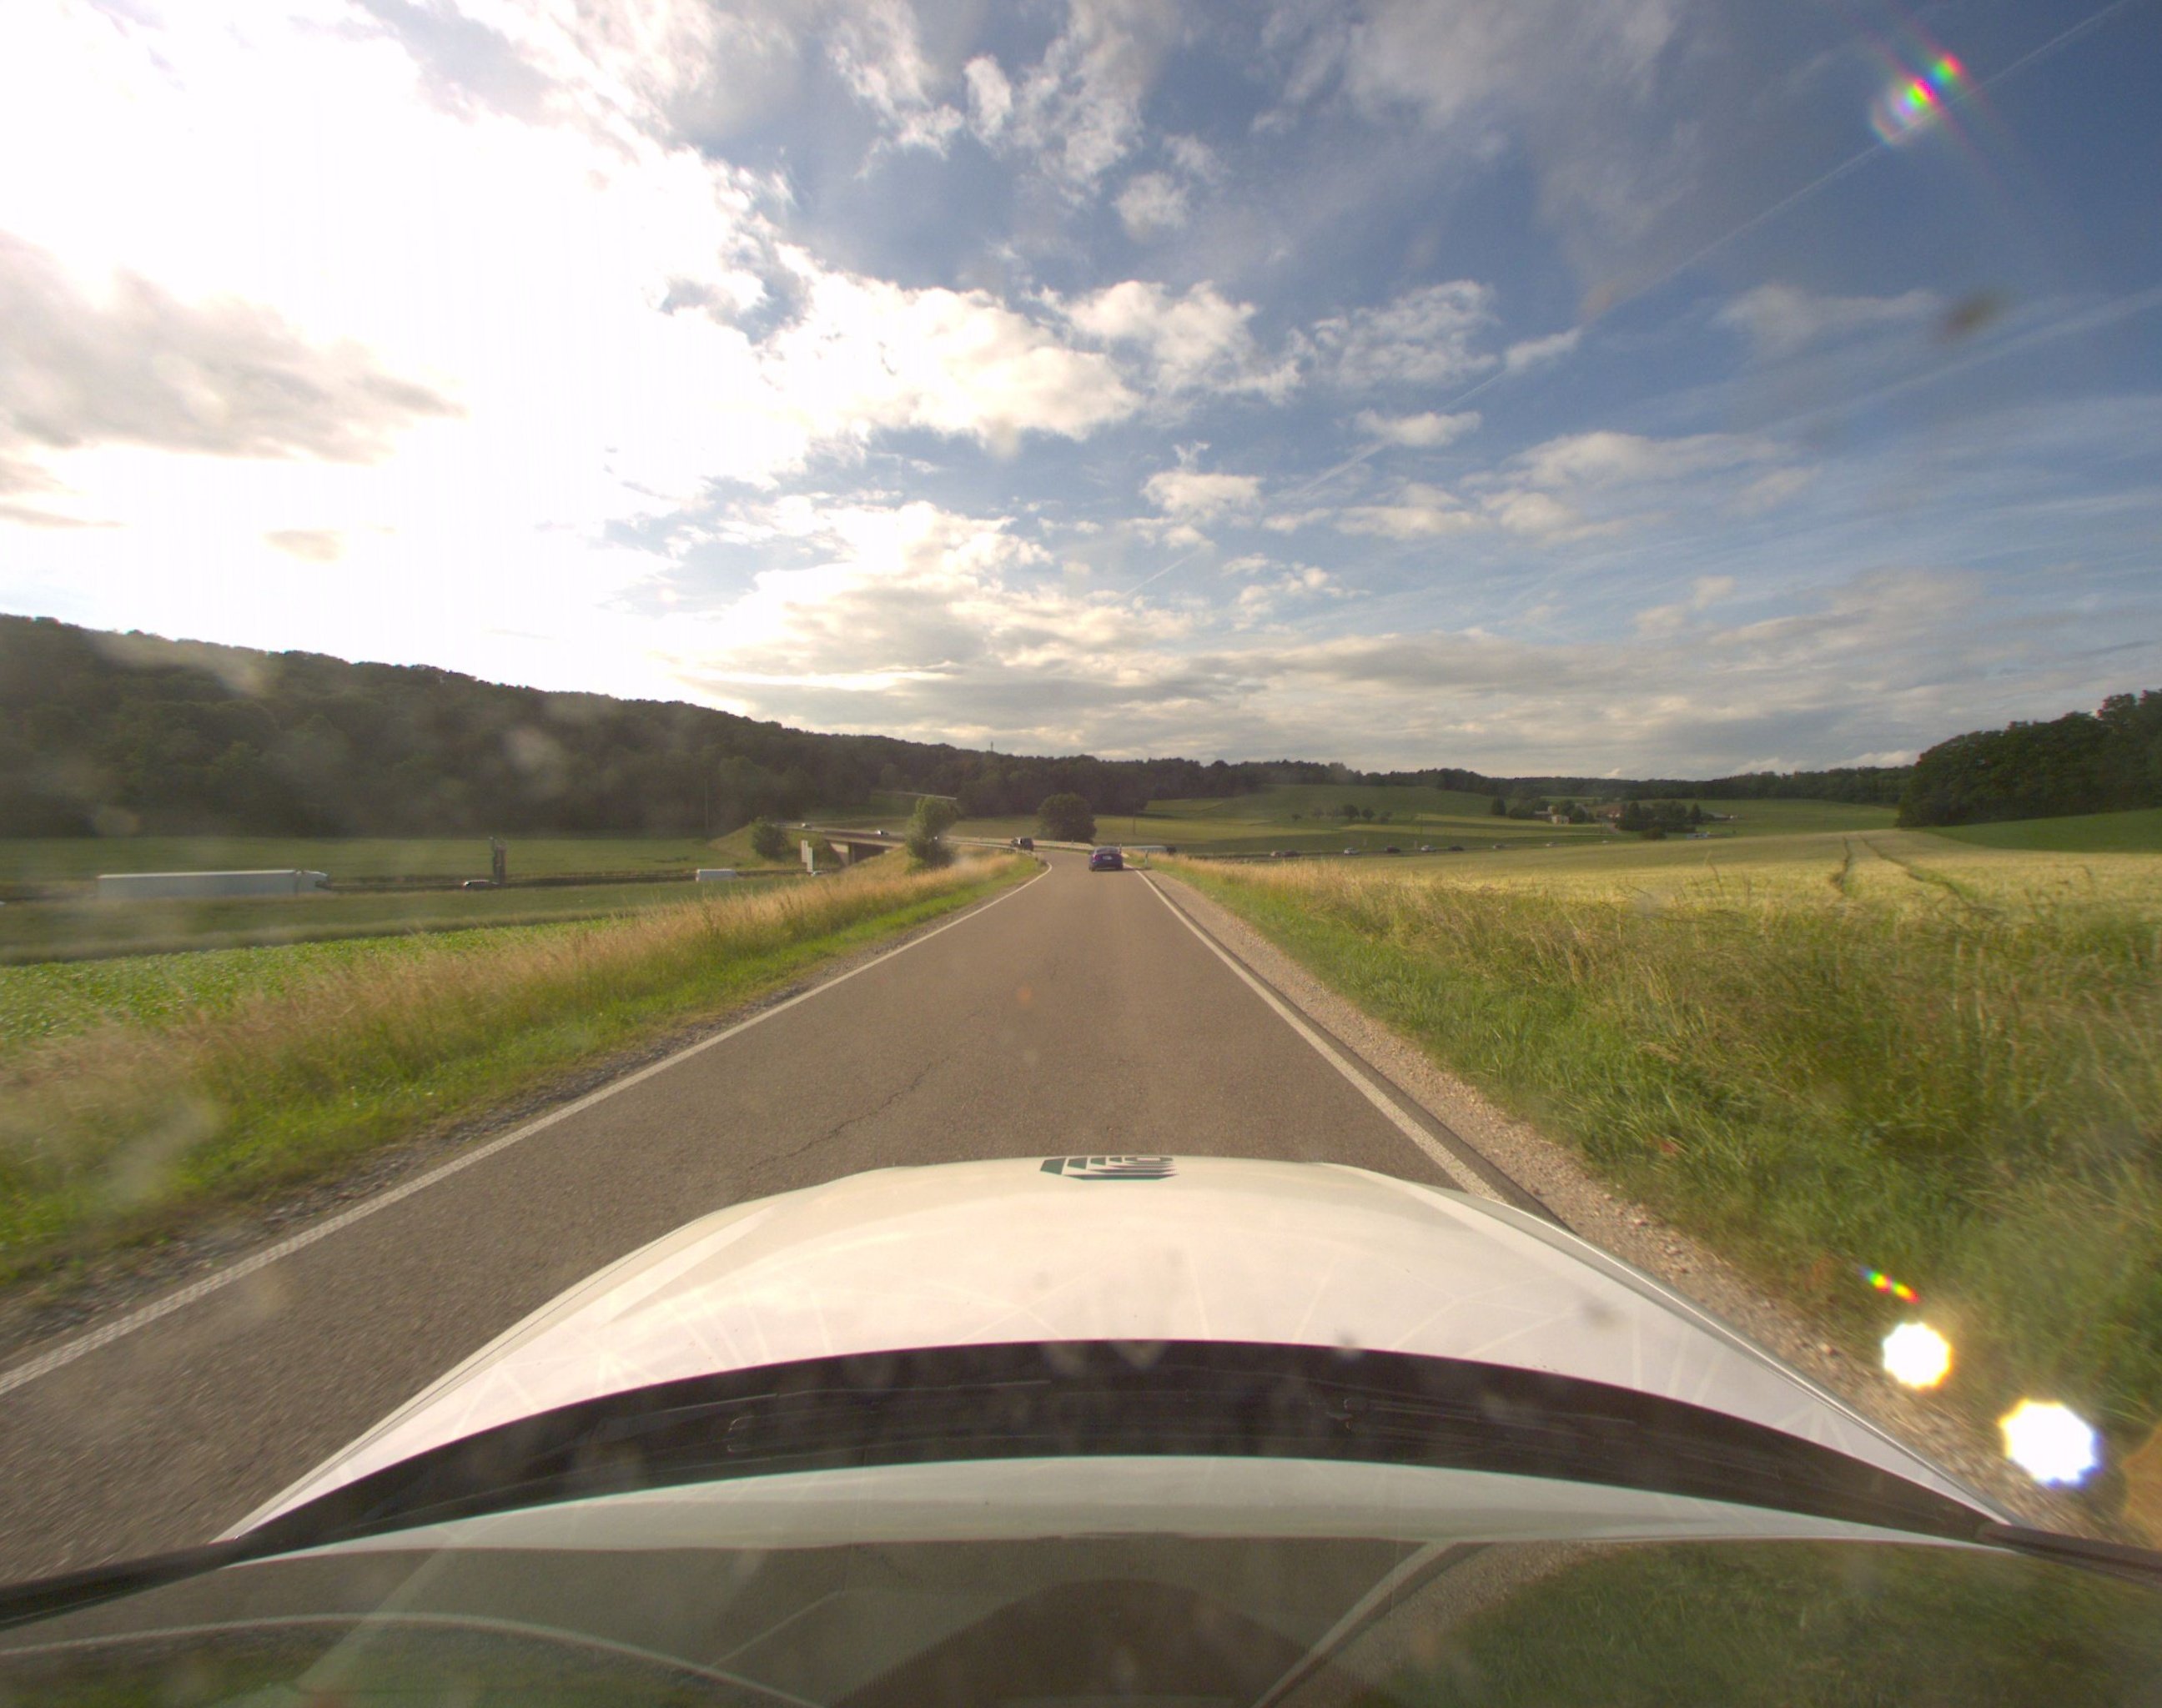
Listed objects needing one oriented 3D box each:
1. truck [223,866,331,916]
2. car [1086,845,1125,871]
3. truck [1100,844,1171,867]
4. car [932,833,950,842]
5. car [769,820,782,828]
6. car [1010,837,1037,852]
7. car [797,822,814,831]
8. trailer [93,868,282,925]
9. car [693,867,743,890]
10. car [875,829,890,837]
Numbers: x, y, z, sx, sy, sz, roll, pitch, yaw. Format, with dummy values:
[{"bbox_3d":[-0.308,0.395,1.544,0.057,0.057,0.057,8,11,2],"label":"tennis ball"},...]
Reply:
[{"bbox_3d":[-87.622,3.914,89.070,8.102,4.465,2.994,-4,7,-43],"label":"truck"},{"bbox_3d":[1.377,0.175,47.014,1.815,1.339,4.344,-2,1,-4],"label":"car"},{"bbox_3d":[10.910,0.259,161.652,14.484,3.996,4.036,-2,0,-35],"label":"truck"},{"bbox_3d":[-20.557,-2.439,119.382,1.691,1.376,3.967,-1,2,-25],"label":"car"},{"bbox_3d":[-74.118,-7.294,197.348,2.008,1.771,3.960,-5,4,-32],"label":"car"},{"bbox_3d":[-6.445,-1.061,90.462,1.869,1.568,3.971,-2,1,-22],"label":"car"},{"bbox_3d":[-58.450,-5.798,172.755,2.010,1.679,4.131,1,1,-39],"label":"car"},{"bbox_3d":[-92.290,4.255,84.719,12.799,4.465,2.997,-4,7,-42],"label":"trailer"},{"bbox_3d":[-52.363,3.463,117.617,6.155,2.582,2.348,-4,9,-39],"label":"car"},{"bbox_3d":[-33.666,-3.561,138.131,1.481,1.227,3.267,-1,2,-31],"label":"car"}]
